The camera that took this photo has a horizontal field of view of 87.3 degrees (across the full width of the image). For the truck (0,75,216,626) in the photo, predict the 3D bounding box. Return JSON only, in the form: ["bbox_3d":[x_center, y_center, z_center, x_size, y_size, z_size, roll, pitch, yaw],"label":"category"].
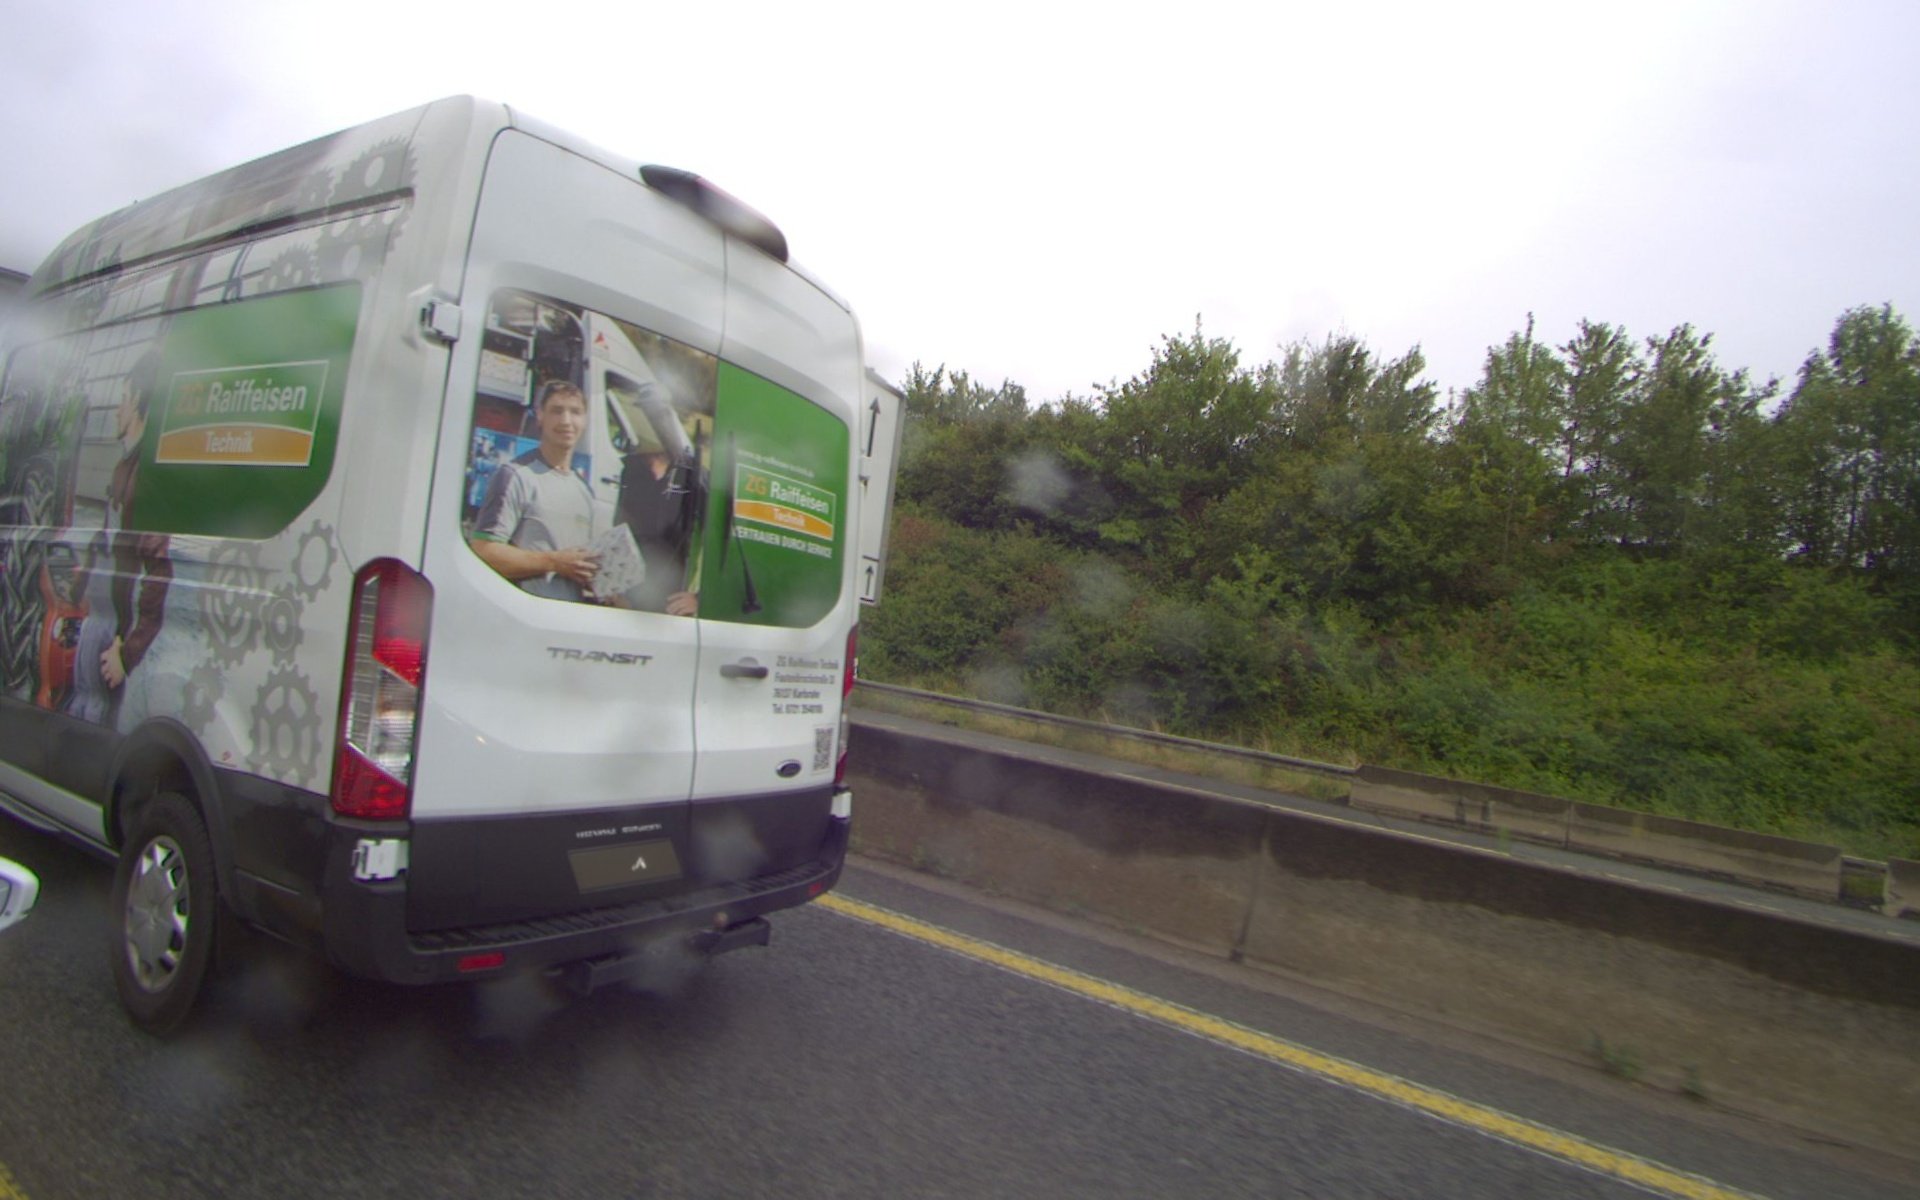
[{"bbox_3d":[-18.890,-3.633,16.101,20.044,5.740,3.985,6,-1,33],"label":"truck"}]

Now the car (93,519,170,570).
[{"bbox_3d":[-41.769,-2.794,50.682,4.058,2.082,1.731,6,-1,34],"label":"car"}]

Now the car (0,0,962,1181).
[{"bbox_3d":[-3.227,-0.261,4.722,6.018,2.707,2.147,6,-1,33],"label":"car"}]
